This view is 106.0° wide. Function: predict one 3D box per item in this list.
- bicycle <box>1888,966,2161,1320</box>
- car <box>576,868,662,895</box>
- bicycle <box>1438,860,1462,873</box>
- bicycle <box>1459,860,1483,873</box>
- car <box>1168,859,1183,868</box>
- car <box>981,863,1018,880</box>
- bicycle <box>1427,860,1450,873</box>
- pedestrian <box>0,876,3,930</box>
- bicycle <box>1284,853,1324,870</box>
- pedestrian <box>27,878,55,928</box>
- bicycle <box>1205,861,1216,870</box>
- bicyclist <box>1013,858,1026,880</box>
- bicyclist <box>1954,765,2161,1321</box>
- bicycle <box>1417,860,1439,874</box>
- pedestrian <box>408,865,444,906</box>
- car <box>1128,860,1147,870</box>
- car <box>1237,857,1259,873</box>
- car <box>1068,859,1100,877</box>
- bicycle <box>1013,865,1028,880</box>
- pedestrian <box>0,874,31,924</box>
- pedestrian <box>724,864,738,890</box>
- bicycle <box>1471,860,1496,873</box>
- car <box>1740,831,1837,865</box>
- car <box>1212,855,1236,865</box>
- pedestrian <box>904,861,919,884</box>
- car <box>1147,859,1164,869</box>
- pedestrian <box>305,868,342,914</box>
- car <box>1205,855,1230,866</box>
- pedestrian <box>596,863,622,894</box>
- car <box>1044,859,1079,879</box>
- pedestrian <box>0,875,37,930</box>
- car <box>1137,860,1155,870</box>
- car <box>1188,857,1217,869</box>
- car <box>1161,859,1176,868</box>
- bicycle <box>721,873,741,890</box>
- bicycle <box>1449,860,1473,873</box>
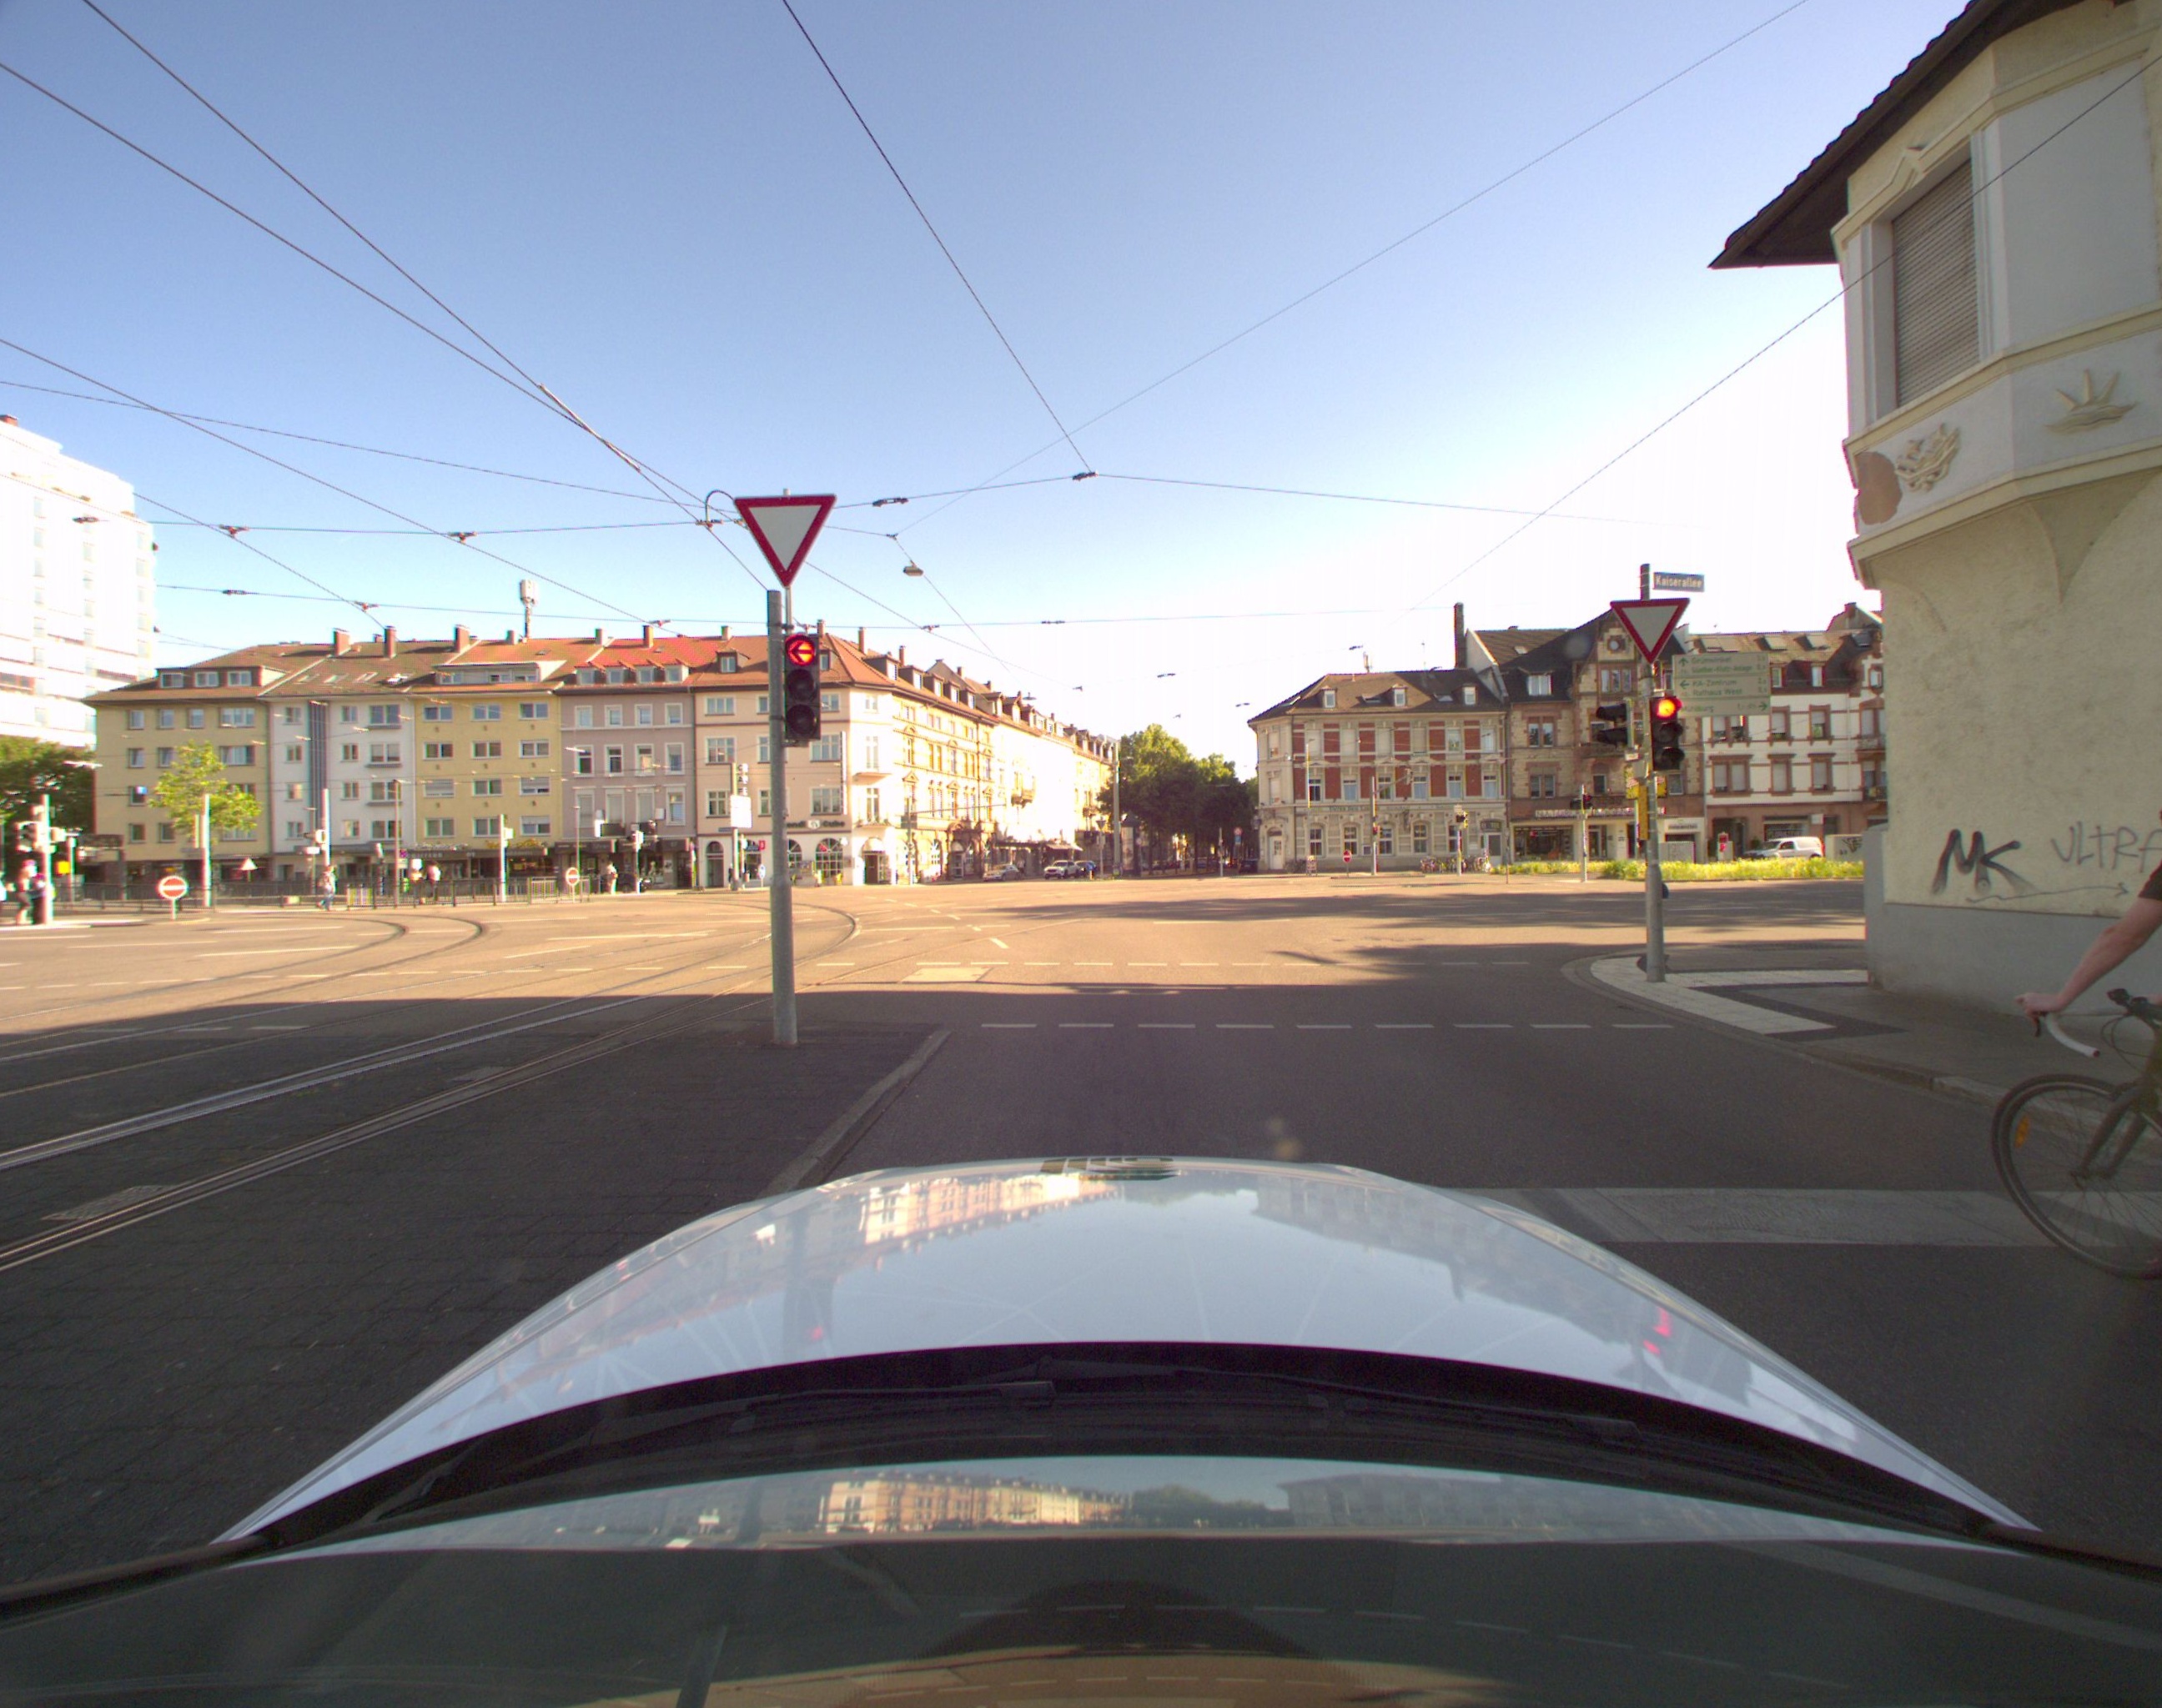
[{"bbox_3d":[3.601,0.956,2.507,0.516,0.970,1.750,-1,0,2],"label":"bicycle"},{"bbox_3d":[-30.360,1.792,53.638,4.347,1.711,2.308,0,-1,4],"label":"car"},{"bbox_3d":[23.890,0.816,52.737,0.656,0.840,2.162,0,-1,3],"label":"bicycle"},{"bbox_3d":[25.210,0.806,52.699,0.656,0.840,2.162,0,-1,3],"label":"bicycle"},{"bbox_3d":[15.732,1.530,135.599,1.664,1.354,3.608,-2,0,19],"label":"car"},{"bbox_3d":[-6.703,1.428,67.225,1.664,1.354,3.608,-2,0,19],"label":"car"},{"bbox_3d":[23.166,0.822,52.752,0.656,0.840,2.162,0,-1,3],"label":"bicycle"},{"bbox_3d":[-33.909,1.529,25.110,0.562,1.679,0.753,-1,0,-33],"label":"pedestrian"},{"bbox_3d":[15.609,0.502,57.056,2.547,1.174,0.818,0,-1,-1],"label":"bicycle"},{"bbox_3d":[-31.911,1.499,24.992,0.456,1.505,0.485,-1,1,38],"label":"pedestrian"},{"bbox_3d":[15.779,1.397,99.277,0.636,1.021,1.839,0,-1,-12],"label":"bicycle"},{"bbox_3d":[-4.934,1.213,65.413,0.772,1.803,1.060,-1,-1,16],"label":"bicyclist"},{"bbox_3d":[3.577,0.575,2.498,0.570,1.701,1.117,-1,0,2],"label":"bicyclist"},{"bbox_3d":[22.431,0.827,52.693,0.656,0.840,2.162,0,-1,3],"label":"bicycle"},{"bbox_3d":[-25.563,1.212,31.799,0.720,1.577,0.836,-1,-1,11],"label":"pedestrian"},{"bbox_3d":[7.708,1.496,111.321,1.664,1.354,3.608,-2,0,19],"label":"car"},{"bbox_3d":[16.912,1.101,82.331,1.664,1.483,3.967,-2,0,19],"label":"car"},{"bbox_3d":[0.314,1.245,73.768,1.664,1.483,3.967,-2,0,19],"label":"car"},{"bbox_3d":[-4.888,1.488,65.533,0.696,1.118,1.642,-1,-1,16],"label":"bicycle"},{"bbox_3d":[-34.783,1.456,26.363,0.657,1.577,0.889,-1,-1,29],"label":"pedestrian"},{"bbox_3d":[-22.837,1.508,53.128,0.580,1.670,0.753,0,-1,2],"label":"pedestrian"},{"bbox_3d":[26.014,0.800,52.713,0.656,0.840,2.162,0,-1,3],"label":"bicycle"},{"bbox_3d":[45.448,-0.380,52.396,4.406,2.013,2.002,-1,0,4],"label":"car"},{"bbox_3d":[23.367,0.974,133.151,3.549,1.648,1.691,-2,0,19],"label":"car"},{"bbox_3d":[-12.463,1.331,59.866,0.770,1.670,0.834,-1,-1,17],"label":"pedestrian"},{"bbox_3d":[11.253,1.509,122.361,1.664,1.354,3.608,-2,0,19],"label":"car"},{"bbox_3d":[-26.981,1.310,29.001,0.545,1.577,0.838,-1,-1,29],"label":"pedestrian"},{"bbox_3d":[21.460,1.067,127.717,3.549,1.648,1.691,-2,0,19],"label":"car"},{"bbox_3d":[-24.645,1.289,42.535,0.842,1.577,0.836,-1,-1,11],"label":"pedestrian"},{"bbox_3d":[-1.598,1.218,67.509,1.664,1.483,3.789,-2,0,19],"label":"car"},{"bbox_3d":[-32.917,1.499,25.241,0.456,1.644,0.643,-1,1,38],"label":"pedestrian"},{"bbox_3d":[9.183,1.499,115.444,1.664,1.354,3.608,-2,0,19],"label":"car"},{"bbox_3d":[17.214,1.264,115.452,3.870,1.648,1.691,-2,0,19],"label":"car"},{"bbox_3d":[14.045,1.510,130.606,1.664,1.354,3.608,-2,0,19],"label":"car"},{"bbox_3d":[-22.833,1.800,53.139,0.570,1.077,1.497,0,-1,2],"label":"bicycle"},{"bbox_3d":[24.573,0.811,52.744,0.656,0.840,2.162,0,-1,3],"label":"bicycle"}]
